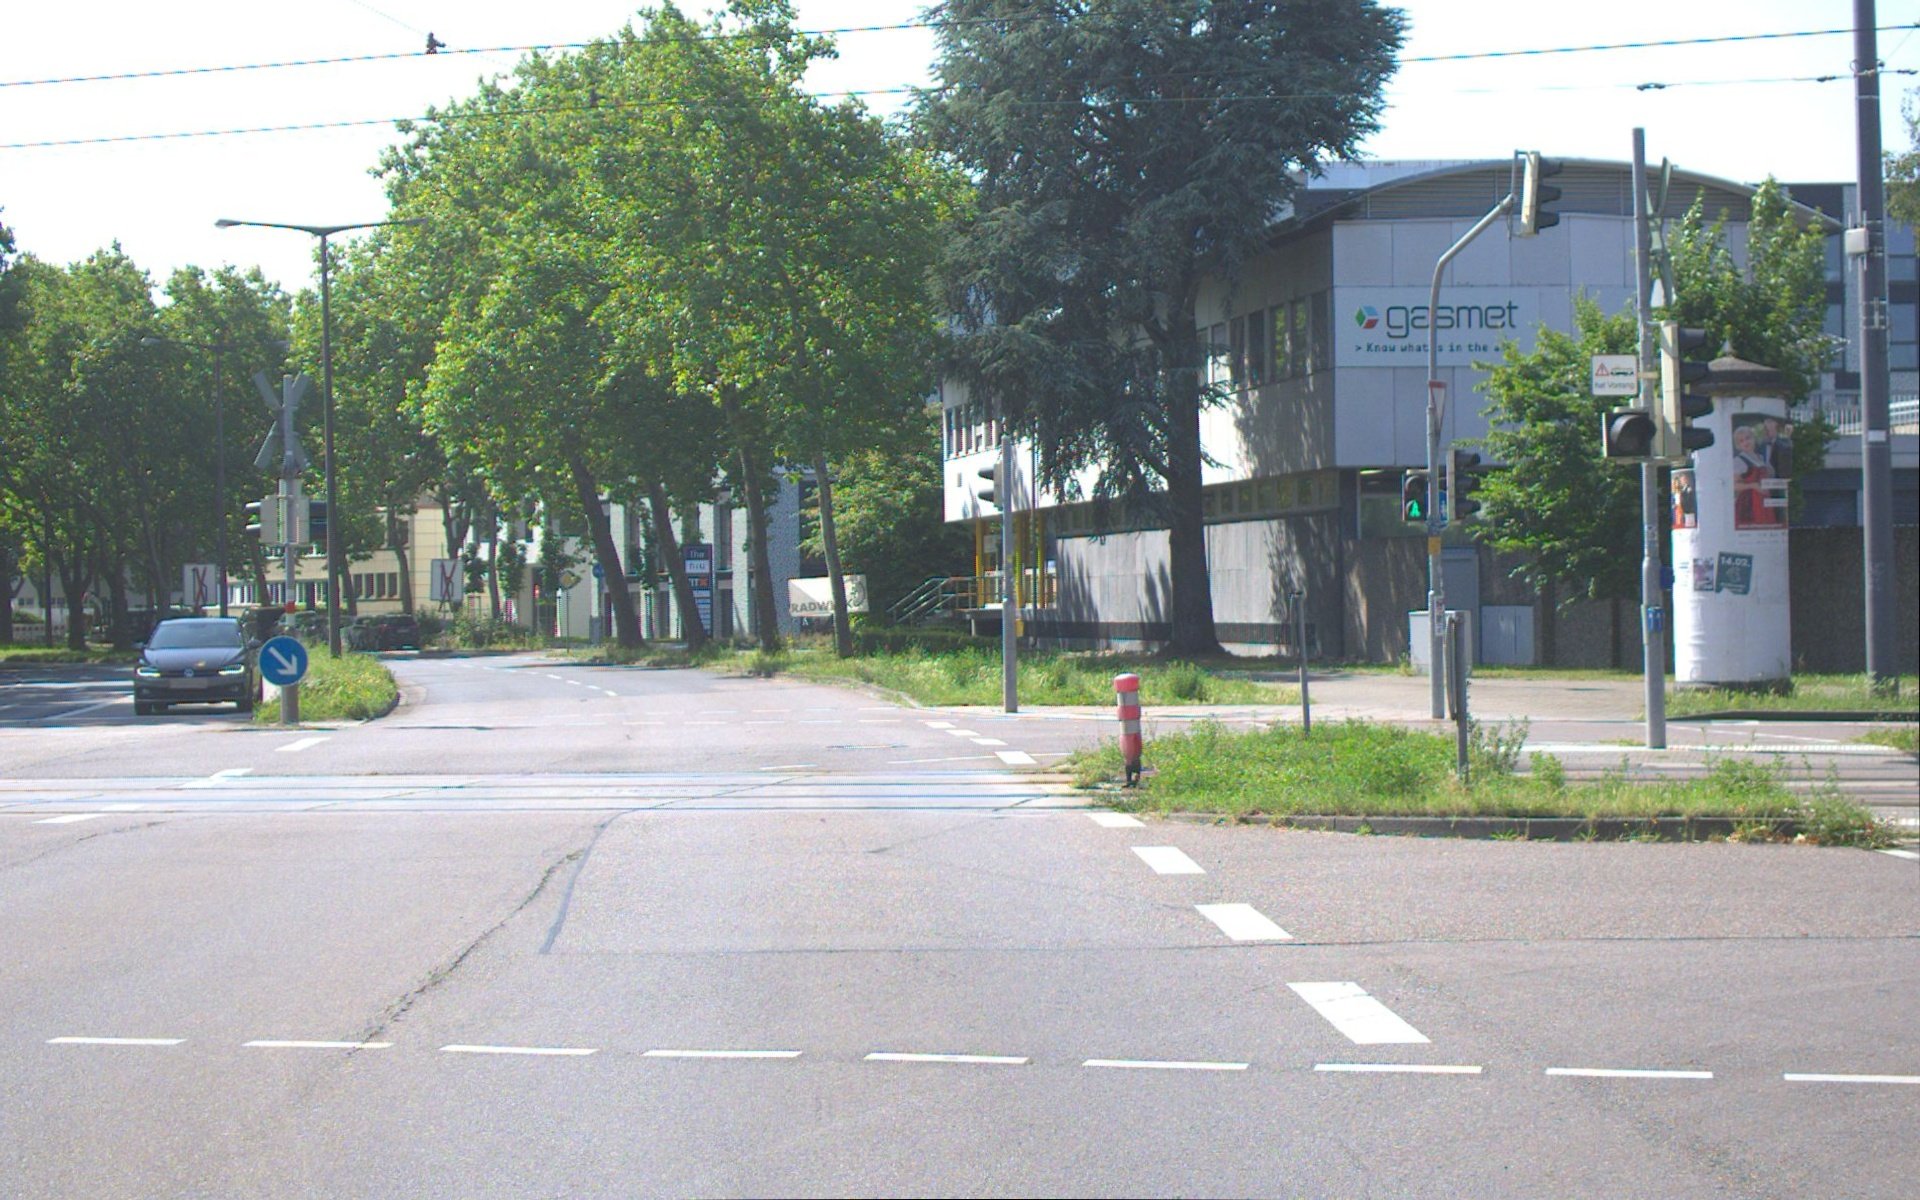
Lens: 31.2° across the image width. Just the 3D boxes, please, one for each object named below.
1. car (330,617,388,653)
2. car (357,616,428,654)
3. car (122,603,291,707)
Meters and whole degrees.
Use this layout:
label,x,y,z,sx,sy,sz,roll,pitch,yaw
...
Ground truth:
label,x,y,z,sx,sy,sz,roll,pitch,yaw
car,-25.869,1.477,148.009,1.706,1.482,4.102,-1,0,-20
car,-23.573,1.429,142.692,1.706,1.482,4.720,-2,1,-24
car,-11.544,0.808,52.881,1.694,1.503,4.129,-1,0,0
